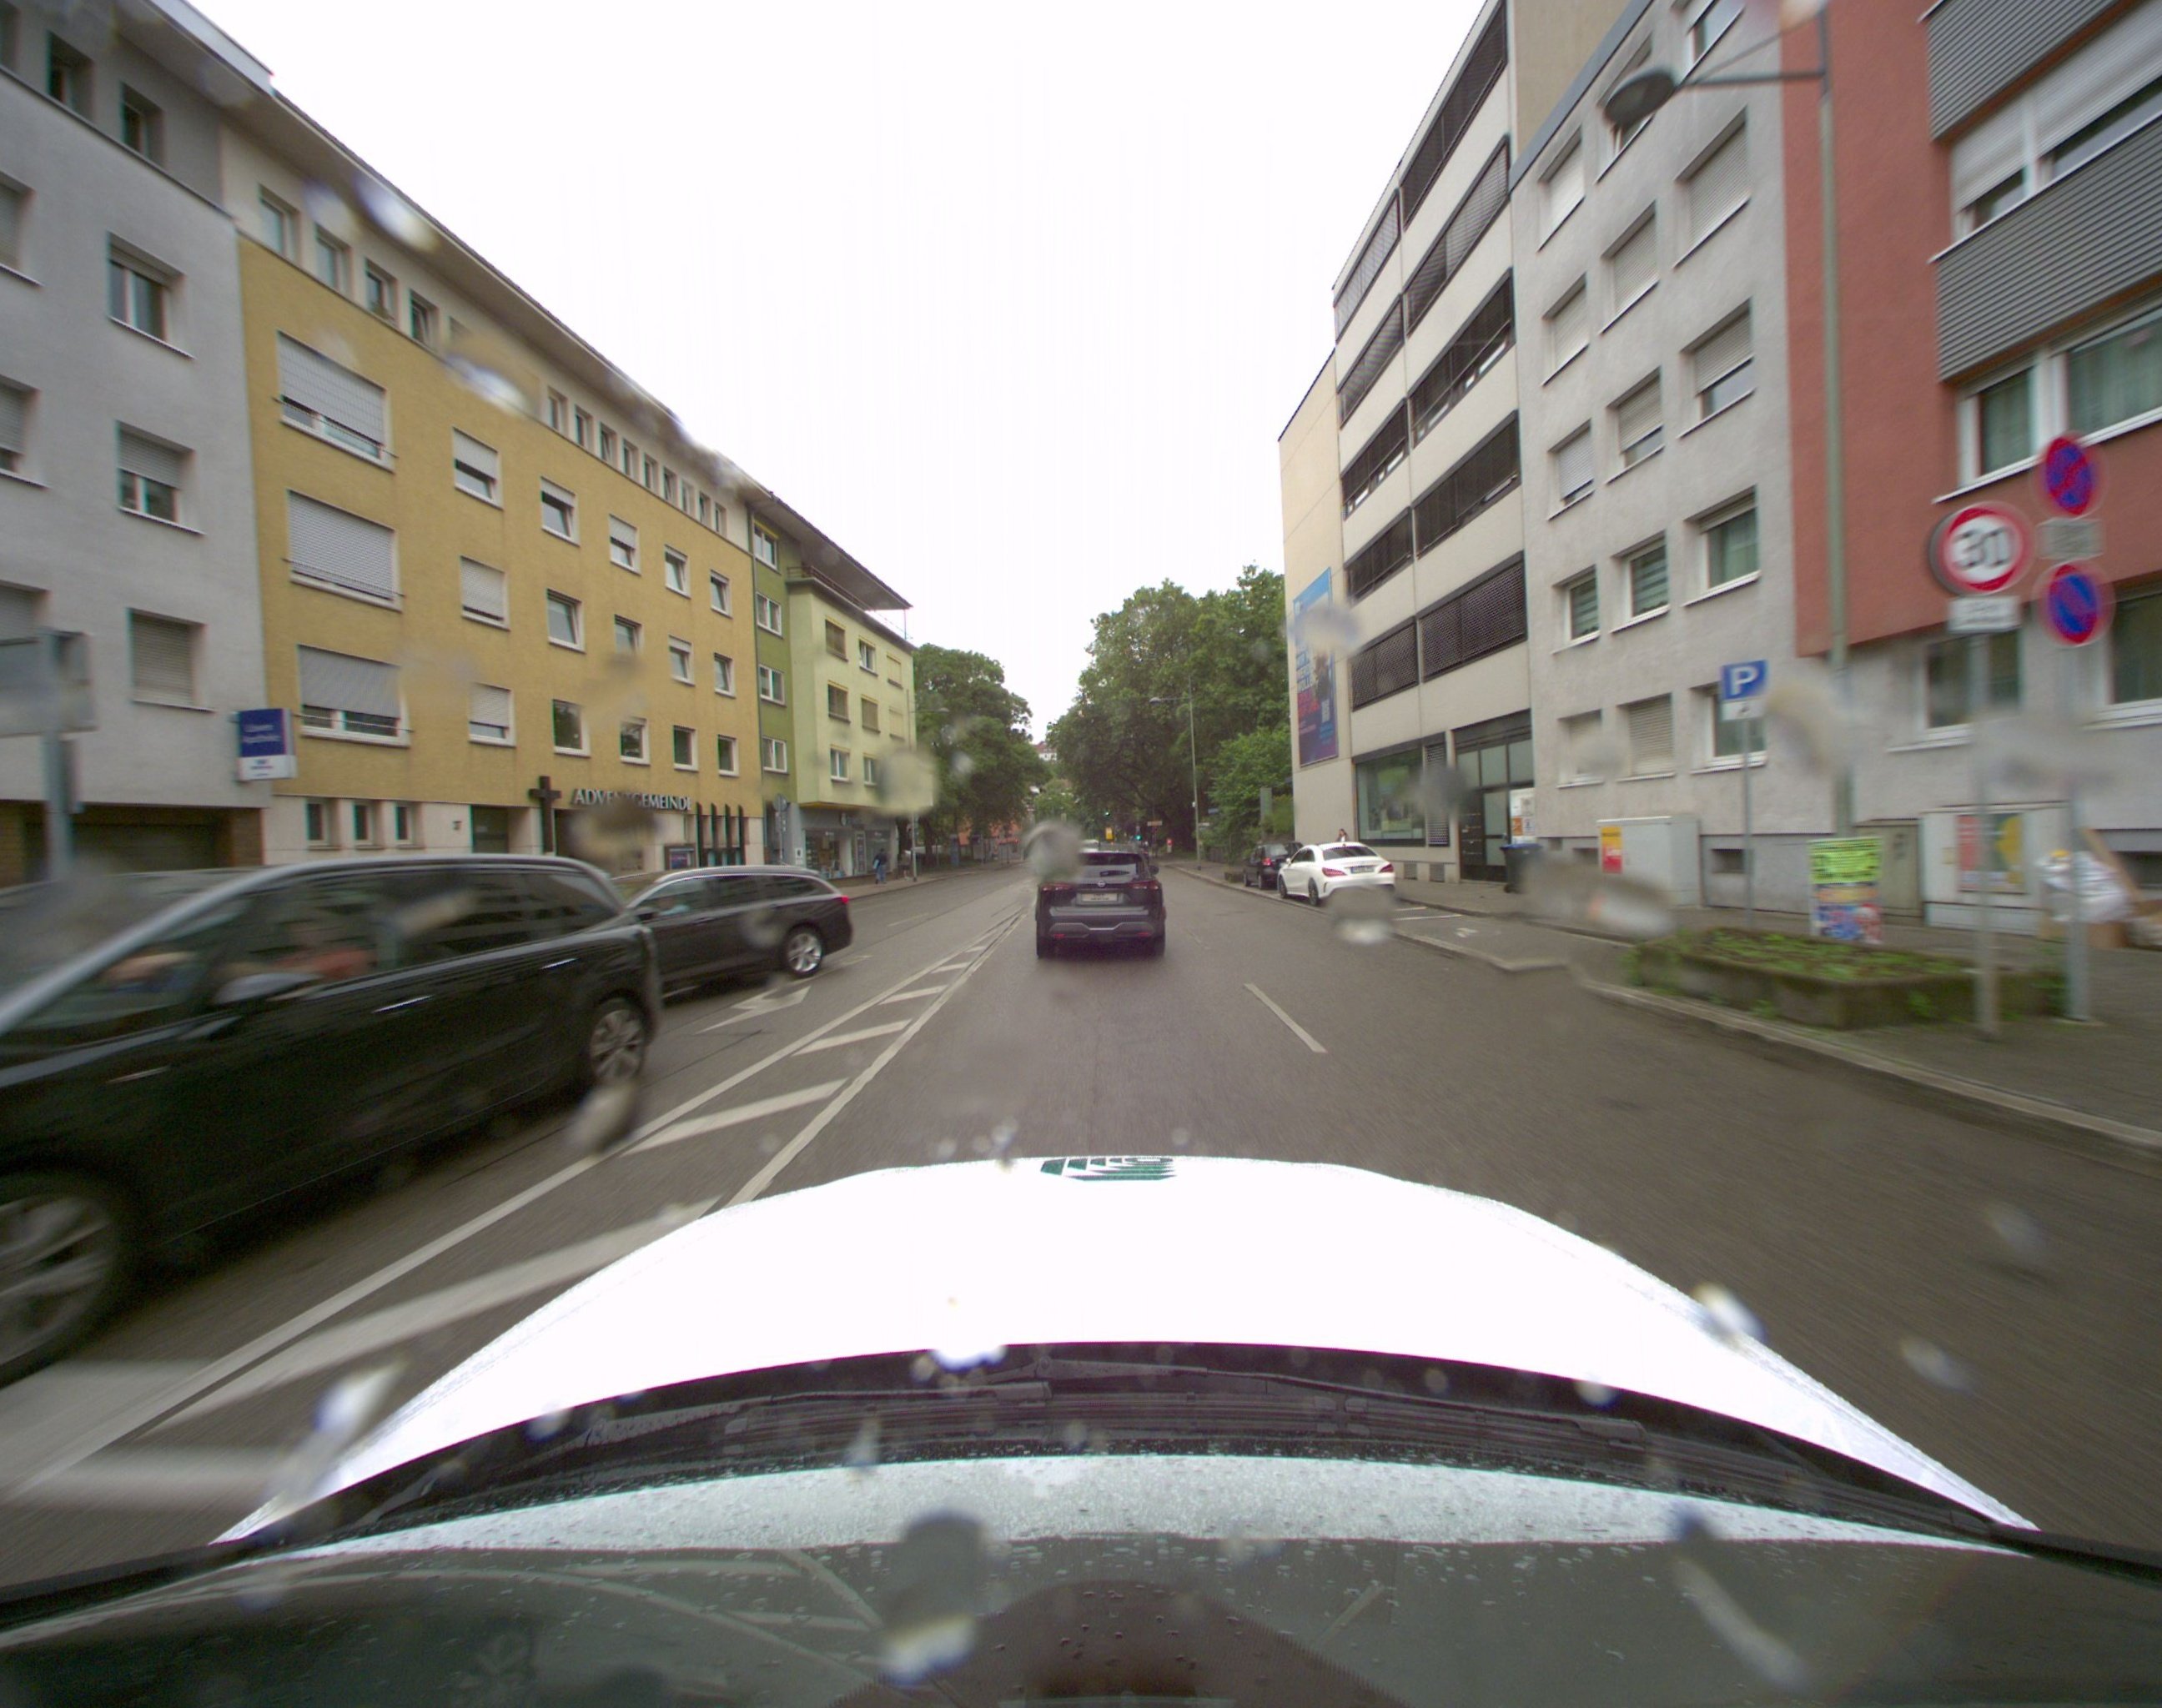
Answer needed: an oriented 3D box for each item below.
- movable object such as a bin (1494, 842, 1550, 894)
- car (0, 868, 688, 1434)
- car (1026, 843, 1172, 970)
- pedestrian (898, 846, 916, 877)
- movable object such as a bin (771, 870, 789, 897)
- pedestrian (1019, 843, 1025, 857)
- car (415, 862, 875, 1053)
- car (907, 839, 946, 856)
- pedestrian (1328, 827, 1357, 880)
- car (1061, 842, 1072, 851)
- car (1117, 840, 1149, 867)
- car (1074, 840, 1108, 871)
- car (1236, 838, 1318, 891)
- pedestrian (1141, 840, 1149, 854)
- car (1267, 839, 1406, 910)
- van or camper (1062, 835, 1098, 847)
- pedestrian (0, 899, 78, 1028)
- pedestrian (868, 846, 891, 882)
[{"bbox_3d":[9.515,0.297,17.589,0.711,1.068,0.783,-3,1,-6],"label":"movable object such as a bin"},{"bbox_3d":[-4.020,0.954,3.881,1.812,1.608,4.436,-3,0,4],"label":"car"},{"bbox_3d":[0.197,0.663,12.676,1.889,1.629,3.998,-1,1,-1],"label":"car"},{"bbox_3d":[-9.728,0.407,45.565,0.795,1.688,0.817,-2,1,0],"label":"pedestrian"},{"bbox_3d":[-11.837,1.161,31.997,0.397,1.006,0.546,-2,1,8],"label":"movable object such as a bin"},{"bbox_3d":[-7.449,-0.484,102.739,0.666,1.791,0.720,-1,1,-6],"label":"pedestrian"},{"bbox_3d":[-4.710,0.984,9.607,1.803,1.433,4.427,-3,2,28],"label":"car"},{"bbox_3d":[-16.565,-0.737,87.382,3.822,1.734,1.879,-1,1,-1],"label":"car"},{"bbox_3d":[8.995,-0.017,28.055,0.611,1.737,0.680,-4,0,-6],"label":"pedestrian"},{"bbox_3d":[-2.679,-1.449,154.726,1.814,1.796,3.868,-1,1,2],"label":"car"},{"bbox_3d":[3.825,-0.058,60.730,1.940,1.816,3.999,-4,0,-1],"label":"car"},{"bbox_3d":[0.664,0.096,50.863,1.938,1.684,4.002,-4,0,2],"label":"car"},{"bbox_3d":[6.222,0.288,26.304,1.708,1.442,4.083,-4,1,2],"label":"car"},{"bbox_3d":[8.276,-0.909,105.587,0.672,1.791,0.713,-2,1,-41],"label":"pedestrian"},{"bbox_3d":[6.044,0.417,19.868,1.770,1.401,4.577,-4,1,-2],"label":"car"},{"bbox_3d":[-0.284,-4.181,252.830,10.897,3.557,3.184,-1,1,-1],"label":"van or camper"},{"bbox_3d":[-13.872,1.399,10.652,0.683,1.581,0.653,0,1,8],"label":"pedestrian"},{"bbox_3d":[-10.154,0.505,41.125,0.861,1.788,0.877,0,1,6],"label":"pedestrian"}]
